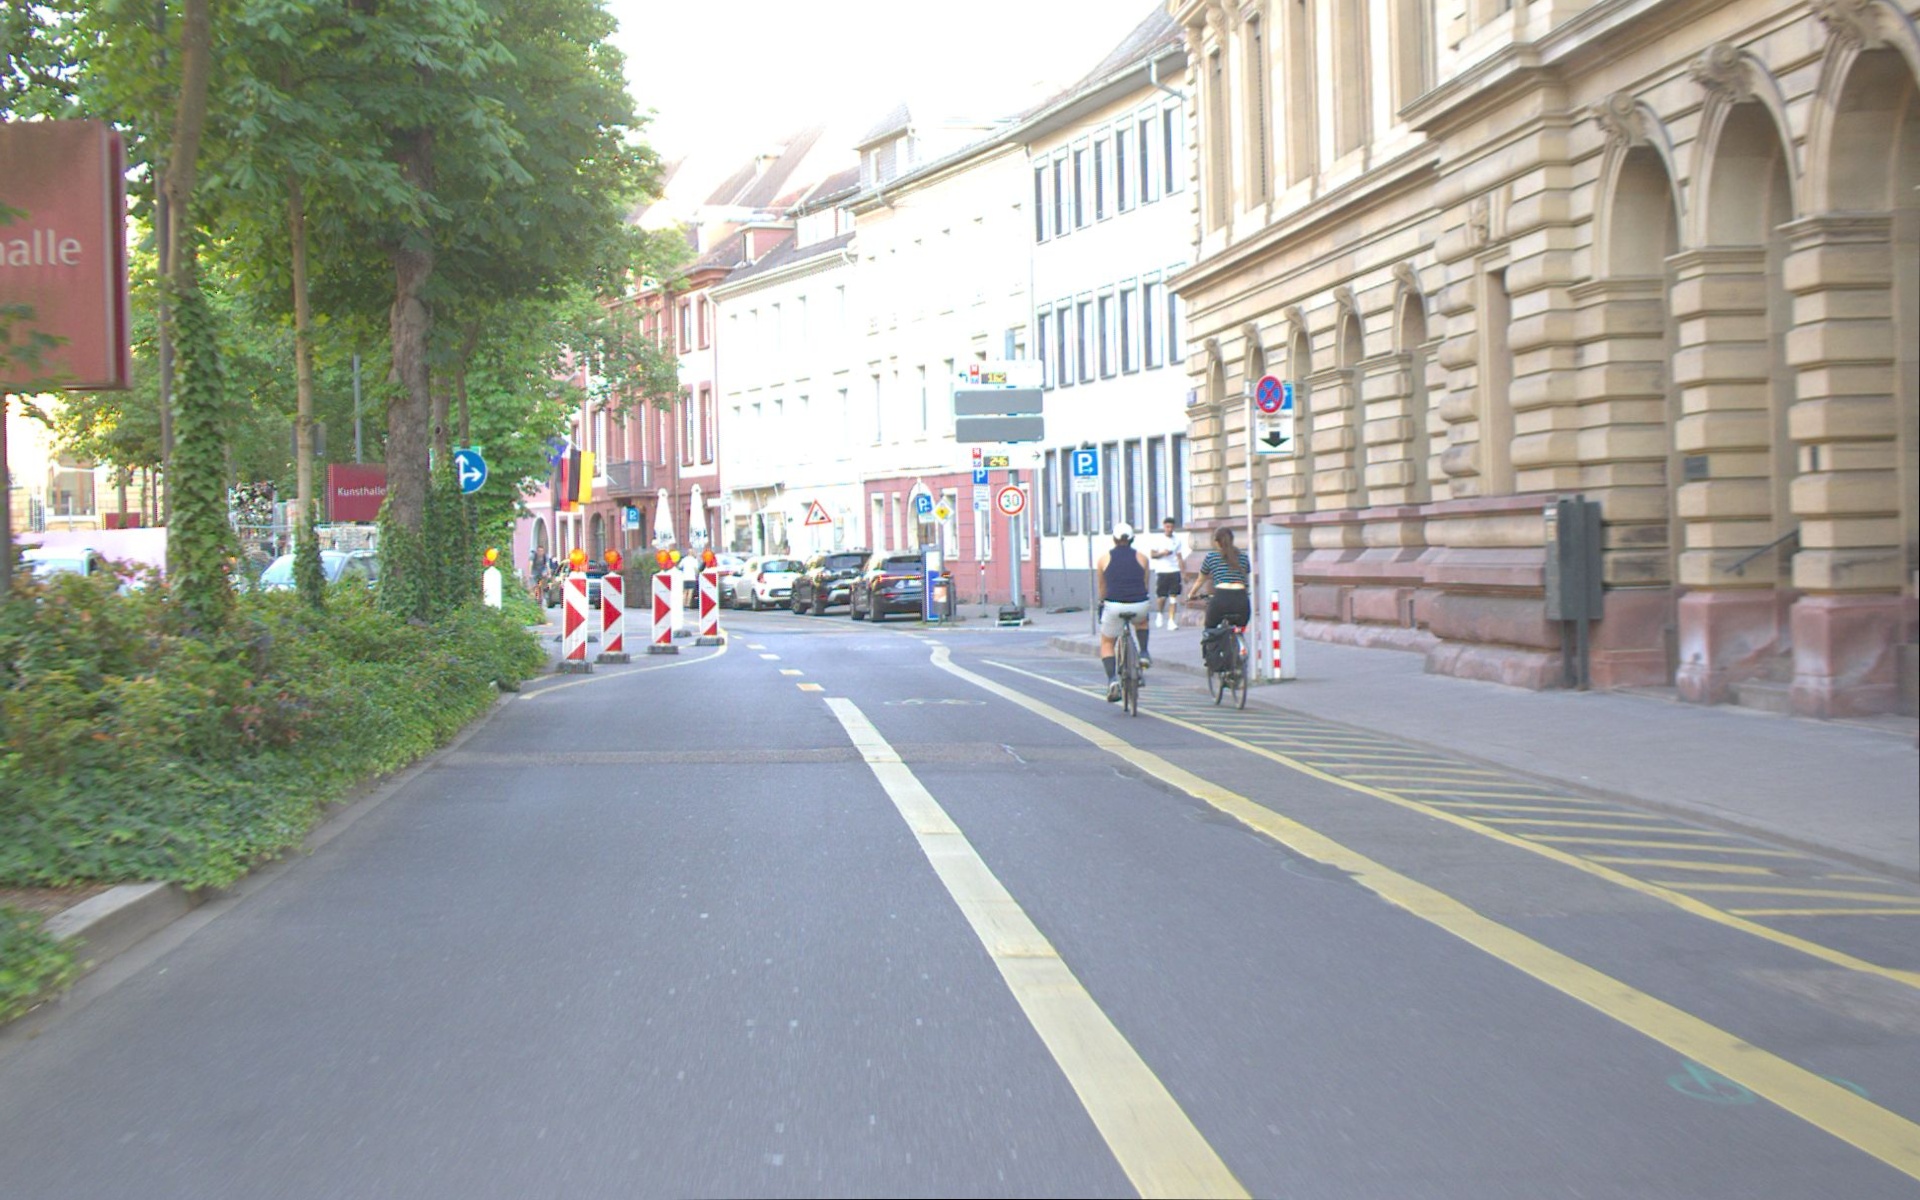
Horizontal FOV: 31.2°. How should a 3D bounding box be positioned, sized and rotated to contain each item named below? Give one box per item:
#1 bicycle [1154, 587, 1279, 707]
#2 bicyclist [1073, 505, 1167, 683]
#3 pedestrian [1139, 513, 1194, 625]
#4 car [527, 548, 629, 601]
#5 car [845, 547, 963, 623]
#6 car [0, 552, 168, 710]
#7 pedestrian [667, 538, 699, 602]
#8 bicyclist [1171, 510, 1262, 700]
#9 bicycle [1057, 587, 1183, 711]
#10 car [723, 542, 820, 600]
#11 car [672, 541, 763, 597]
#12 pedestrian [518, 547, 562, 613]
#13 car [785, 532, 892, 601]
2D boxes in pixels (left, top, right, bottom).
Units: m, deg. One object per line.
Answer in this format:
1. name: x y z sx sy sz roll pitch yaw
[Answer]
1. bicycle: 2.395 0.423 32.325 0.652 1.067 2.258 1 0 -9
2. bicyclist: 1.430 -0.056 30.786 0.668 1.560 0.699 1 0 -11
3. pedestrian: 3.273 -0.500 54.576 0.817 1.759 1.038 0 1 0
4. car: -11.546 -0.762 103.642 1.812 1.554 3.865 -1 1 -26
5. car: -1.319 -0.366 79.113 1.812 1.676 3.920 -1 1 -15
6. car: -10.711 0.334 39.953 1.842 1.668 4.556 -3 1 1
7. pedestrian: -7.978 -0.869 99.073 0.831 1.838 0.958 0 1 0
8. bicyclist: 2.404 0.038 32.298 0.649 1.754 0.864 1 1 -9
9. bicycle: 1.420 0.422 30.804 0.669 1.067 1.902 0 1 -12
10. car: -5.241 -0.799 95.096 1.812 1.554 3.866 -1 1 -16
11. car: -7.027 -0.904 99.329 1.812 1.554 3.866 -1 1 -16
12. pedestrian: -10.746 -0.512 88.008 0.736 1.668 0.894 -1 1 22
13. car: -3.101 -0.836 86.979 1.812 1.678 4.001 -1 1 -15
